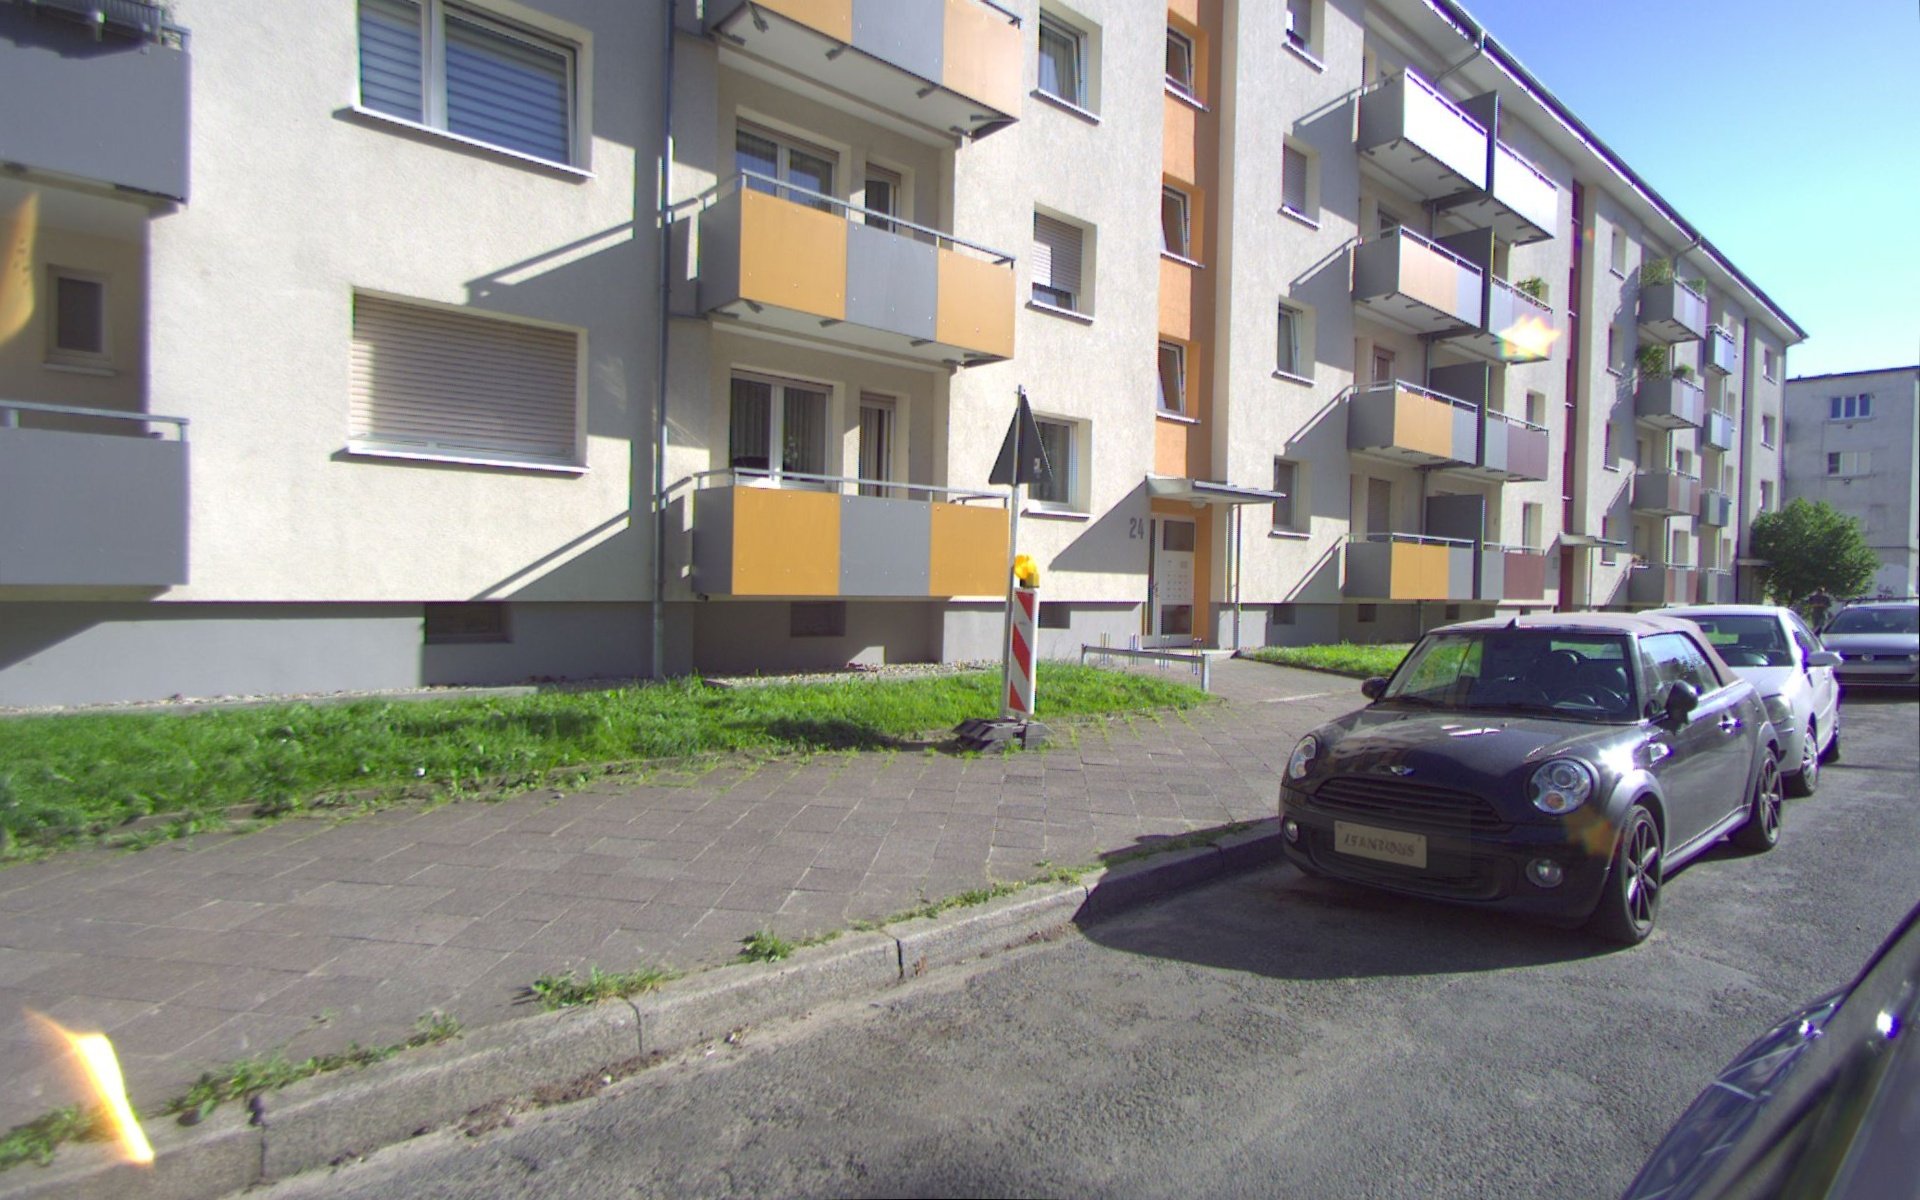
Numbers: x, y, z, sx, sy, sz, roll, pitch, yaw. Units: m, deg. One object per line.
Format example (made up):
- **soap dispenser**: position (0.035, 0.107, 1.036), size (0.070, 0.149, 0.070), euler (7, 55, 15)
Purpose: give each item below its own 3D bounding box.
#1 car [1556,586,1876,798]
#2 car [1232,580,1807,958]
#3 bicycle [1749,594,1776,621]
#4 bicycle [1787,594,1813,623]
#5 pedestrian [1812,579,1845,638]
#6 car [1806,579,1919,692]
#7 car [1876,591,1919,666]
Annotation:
- **car**: position (6.843, 0.637, 9.012), size (3.756, 1.481, 1.687), euler (-1, 0, -44)
- **car**: position (3.330, 0.674, 5.787), size (3.519, 1.486, 1.691), euler (-1, -2, -40)
- **bicycle**: position (30.320, 0.253, 38.232), size (2.246, 0.972, 0.485), euler (0, 2, -45)
- **bicycle**: position (30.989, 0.308, 37.320), size (2.246, 1.024, 0.485), euler (0, 2, -45)
- **pedestrian**: position (26.869, 0.246, 31.314), size (0.826, 1.793, 0.646), euler (0, 1, -42)
- **car**: position (15.388, 0.502, 16.459), size (4.524, 1.642, 1.901), euler (-1, -1, -42)
- **car**: position (20.680, 0.560, 21.048), size (4.442, 1.462, 1.756), euler (0, 2, -39)
